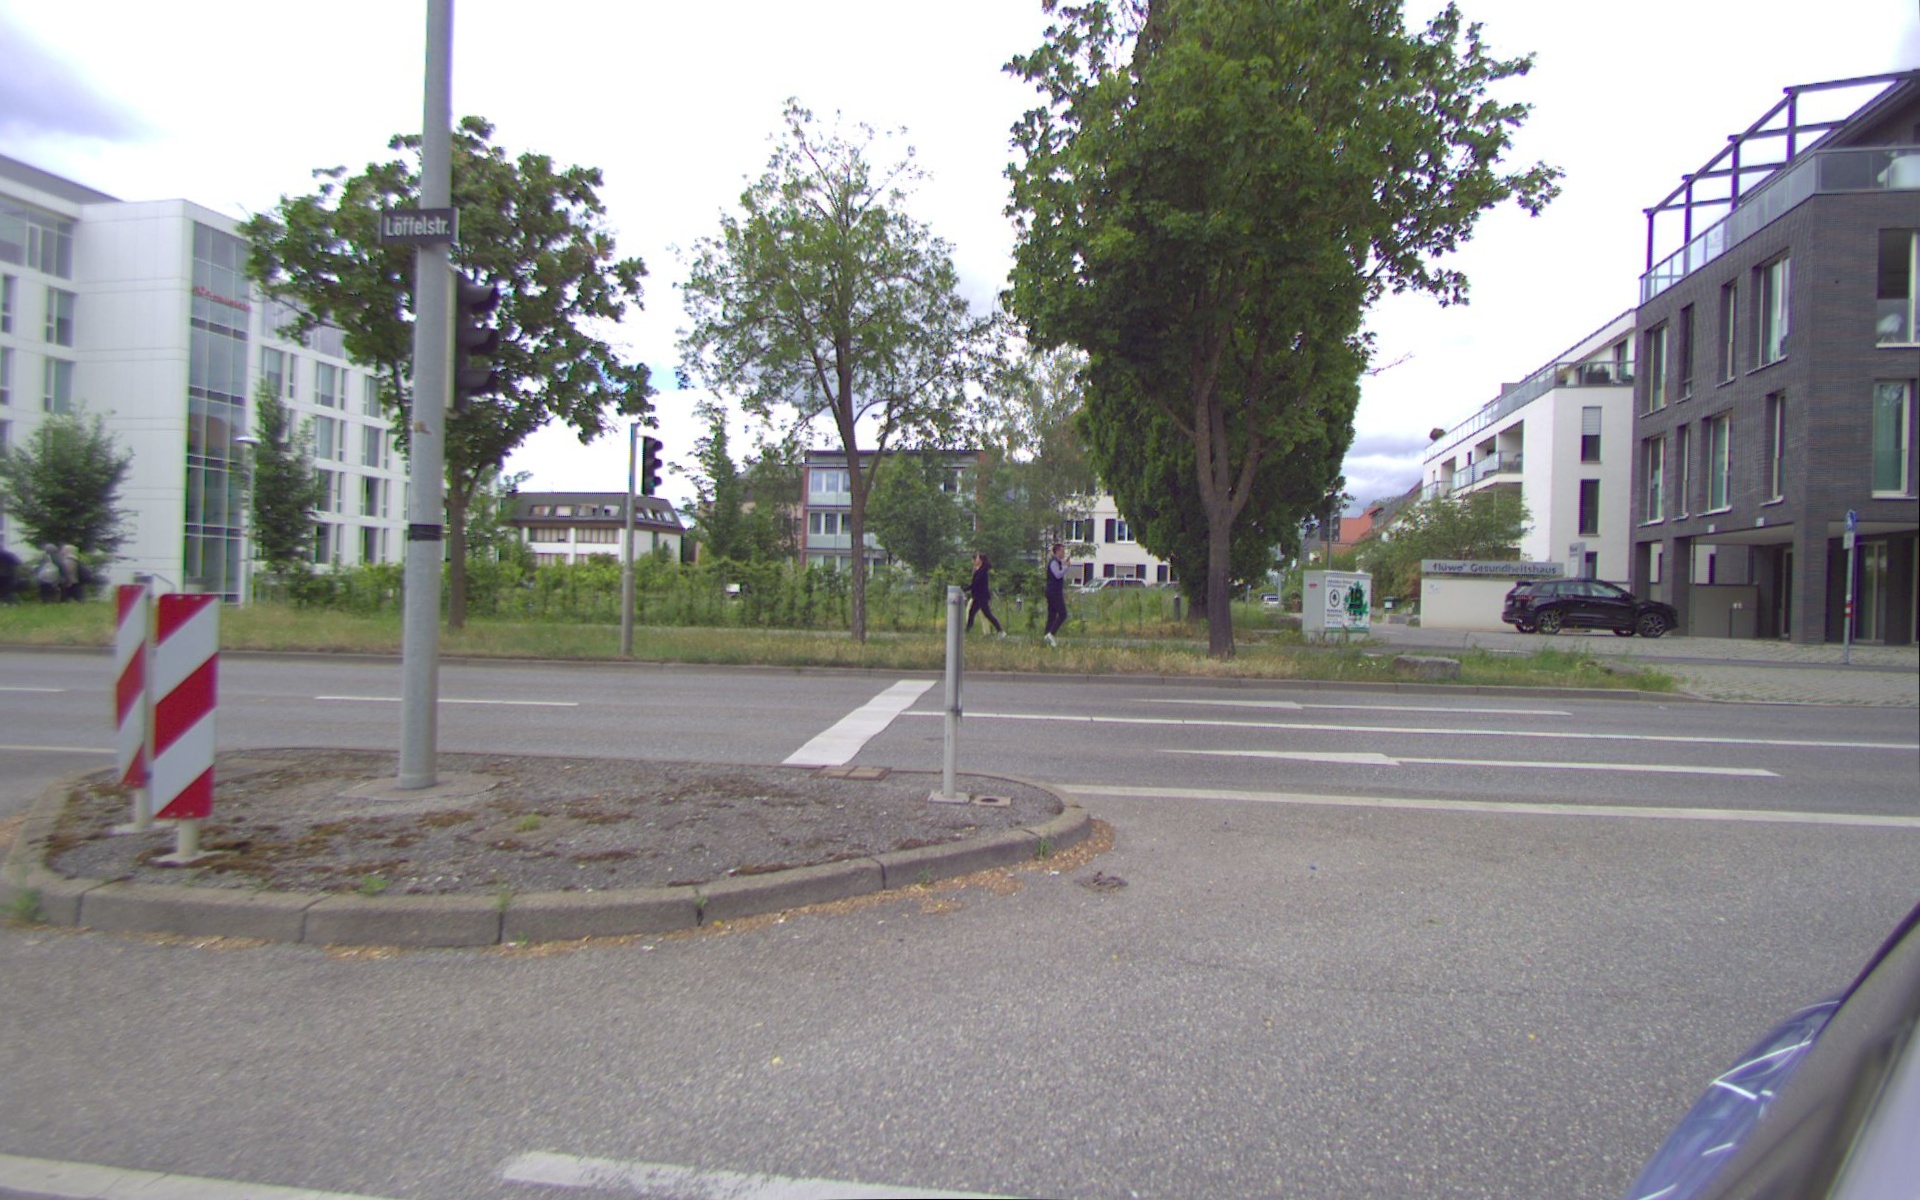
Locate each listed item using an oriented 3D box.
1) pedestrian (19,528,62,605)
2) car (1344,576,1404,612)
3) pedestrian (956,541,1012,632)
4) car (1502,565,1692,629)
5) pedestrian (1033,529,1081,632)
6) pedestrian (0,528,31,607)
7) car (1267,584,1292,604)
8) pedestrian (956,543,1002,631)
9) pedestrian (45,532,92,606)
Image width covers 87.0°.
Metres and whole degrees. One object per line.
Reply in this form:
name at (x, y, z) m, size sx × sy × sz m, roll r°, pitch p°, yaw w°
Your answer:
pedestrian at (-20.200, -0.726, 22.234) m, size 0.703 × 1.647 × 0.559 m, roll -1°, pitch -1°, yaw 34°
car at (20.135, -0.261, 49.373) m, size 1.846 × 1.661 × 3.817 m, roll -1°, pitch 0°, yaw 9°
pedestrian at (0.455, -0.264, 19.543) m, size 0.983 × 1.717 × 0.609 m, roll -1°, pitch -1°, yaw -6°
car at (17.917, -0.087, 28.687) m, size 4.062 × 1.621 × 1.992 m, roll 2°, pitch 0°, yaw 12°
pedestrian at (1.761, -0.345, 18.260) m, size 0.740 × 1.820 × 0.668 m, roll -1°, pitch -1°, yaw 15°
pedestrian at (-20.524, -0.681, 21.691) m, size 1.028 × 1.647 × 0.724 m, roll -1°, pitch -1°, yaw 36°
car at (25.912, -0.462, 82.169) m, size 1.930 × 1.572 × 3.942 m, roll -1°, pitch -1°, yaw 17°
pedestrian at (0.376, -0.253, 20.167) m, size 0.815 × 1.717 × 0.617 m, roll -1°, pitch -1°, yaw -6°
pedestrian at (-20.192, -0.683, 22.938) m, size 0.674 × 1.647 × 0.662 m, roll 0°, pitch -1°, yaw -31°
